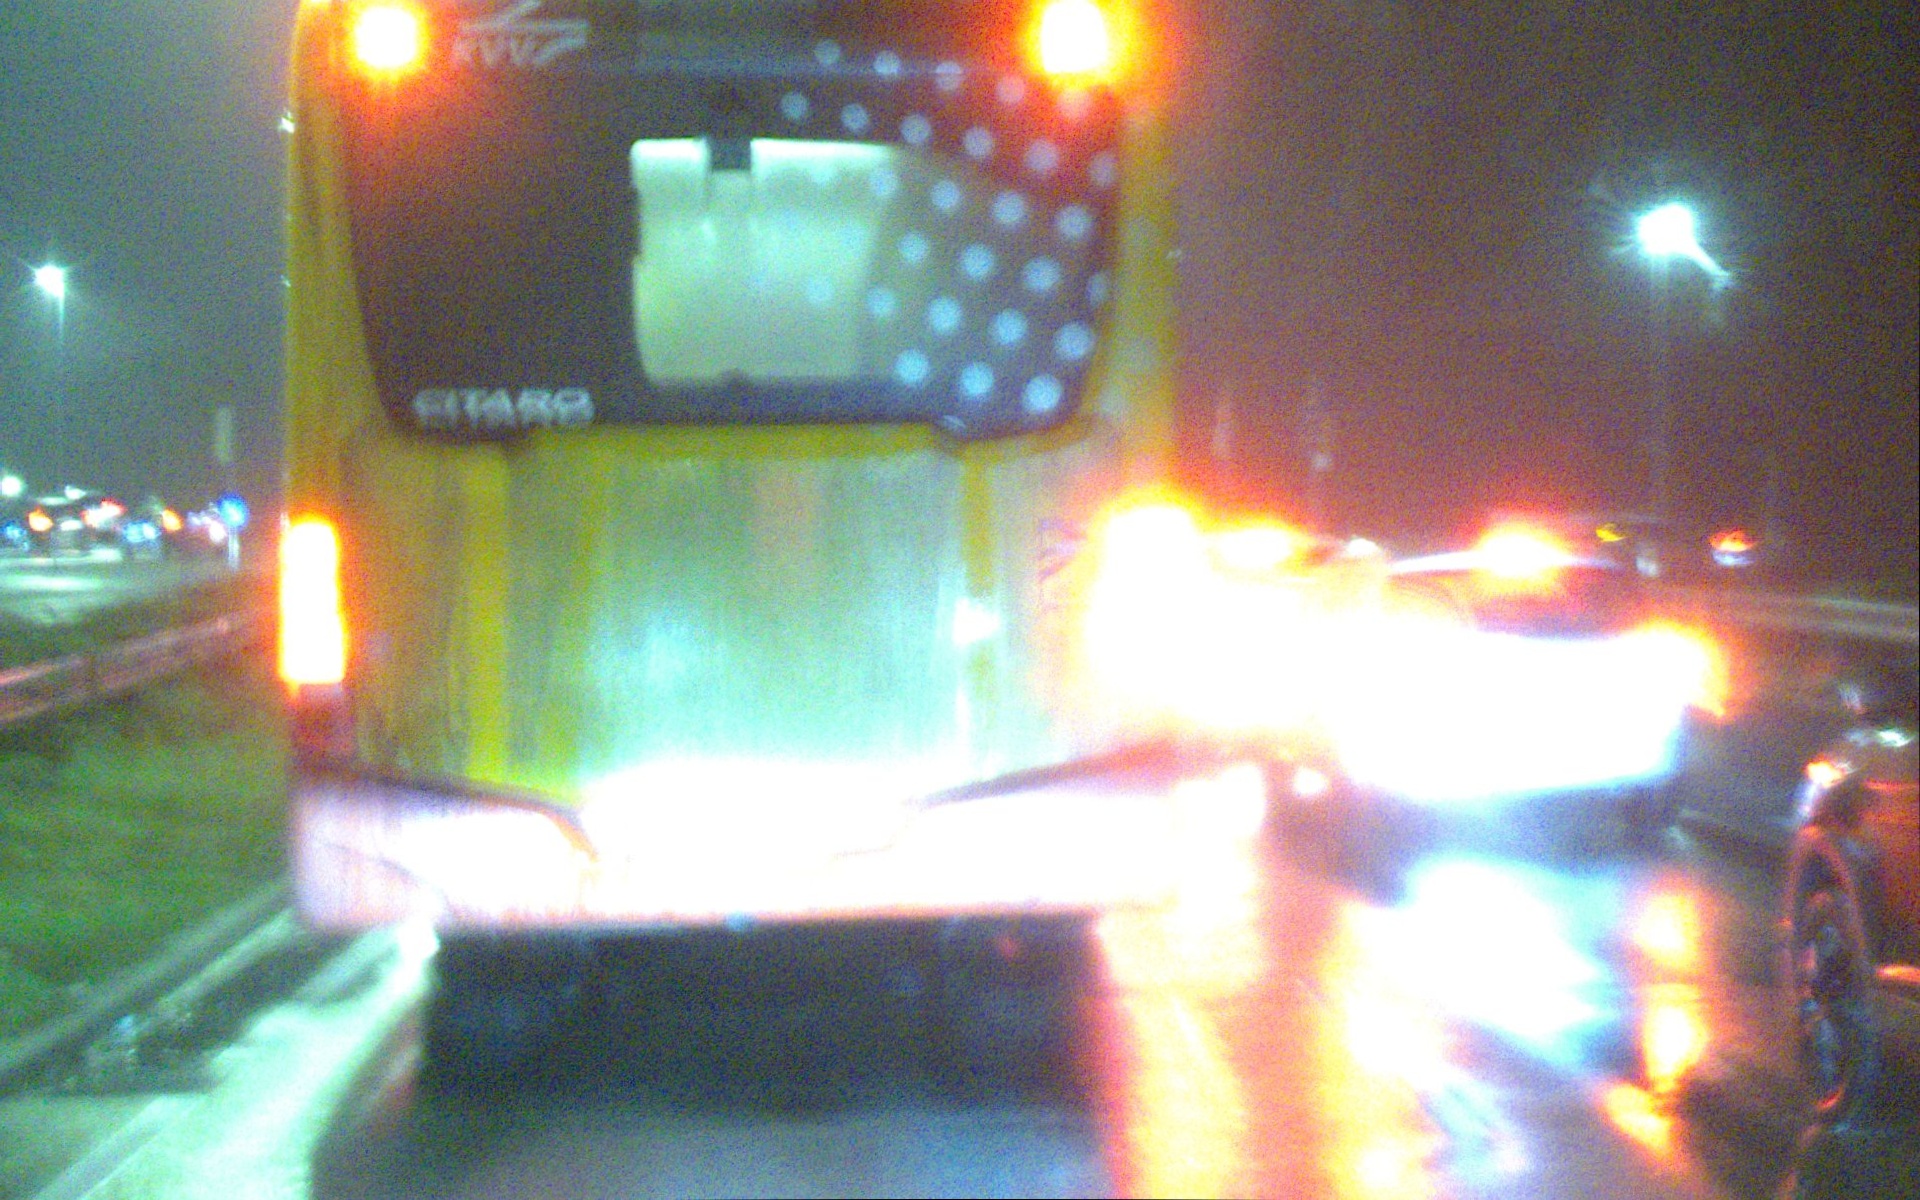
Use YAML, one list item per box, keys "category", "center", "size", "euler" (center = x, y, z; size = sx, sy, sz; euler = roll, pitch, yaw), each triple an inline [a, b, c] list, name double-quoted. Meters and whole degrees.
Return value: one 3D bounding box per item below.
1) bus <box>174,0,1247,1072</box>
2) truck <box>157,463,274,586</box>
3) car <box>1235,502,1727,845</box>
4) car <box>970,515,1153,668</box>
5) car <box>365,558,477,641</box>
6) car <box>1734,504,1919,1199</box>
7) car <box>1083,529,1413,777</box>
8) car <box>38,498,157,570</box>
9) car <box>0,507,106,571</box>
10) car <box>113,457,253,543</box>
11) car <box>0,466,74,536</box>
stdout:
- category: "bus"
  center: [-0.749, -0.339, 13.569]
  size: [2.815, 3.013, 8.688]
  euler: [1, 1, -1]
- category: "truck"
  center: [-15.907, -1.651, 73.340]
  size: [1.855, 2.384, 4.781]
  euler: [-1, 4, -19]
- category: "car"
  center: [2.561, 0.305, 17.782]
  size: [1.819, 1.585, 3.777]
  euler: [0, 1, -2]
- category: "car"
  center: [1.059, -0.121, 37.590]
  size: [1.779, 1.538, 3.875]
  euler: [1, 1, -1]
- category: "car"
  center: [-9.971, -0.034, 63.775]
  size: [1.993, 1.481, 4.001]
  euler: [0, 1, -8]
- category: "car"
  center: [2.995, 0.600, 7.129]
  size: [1.739, 1.559, 3.777]
  euler: [2, 1, -3]
- category: "car"
  center: [1.912, 0.305, 23.896]
  size: [1.819, 1.585, 3.777]
  euler: [0, 1, -2]
- category: "car"
  center: [-24.474, -1.876, 97.515]
  size: [1.994, 2.007, 4.000]
  euler: [0, 1, -35]
- category: "car"
  center: [-24.212, -1.627, 91.094]
  size: [1.751, 1.625, 3.623]
  euler: [2, 0, -37]
- category: "car"
  center: [-19.085, -2.442, 84.350]
  size: [1.993, 2.007, 4.000]
  euler: [2, 0, -34]
- category: "car"
  center: [-28.426, -3.029, 105.645]
  size: [2.120, 2.007, 4.001]
  euler: [2, 0, -12]
